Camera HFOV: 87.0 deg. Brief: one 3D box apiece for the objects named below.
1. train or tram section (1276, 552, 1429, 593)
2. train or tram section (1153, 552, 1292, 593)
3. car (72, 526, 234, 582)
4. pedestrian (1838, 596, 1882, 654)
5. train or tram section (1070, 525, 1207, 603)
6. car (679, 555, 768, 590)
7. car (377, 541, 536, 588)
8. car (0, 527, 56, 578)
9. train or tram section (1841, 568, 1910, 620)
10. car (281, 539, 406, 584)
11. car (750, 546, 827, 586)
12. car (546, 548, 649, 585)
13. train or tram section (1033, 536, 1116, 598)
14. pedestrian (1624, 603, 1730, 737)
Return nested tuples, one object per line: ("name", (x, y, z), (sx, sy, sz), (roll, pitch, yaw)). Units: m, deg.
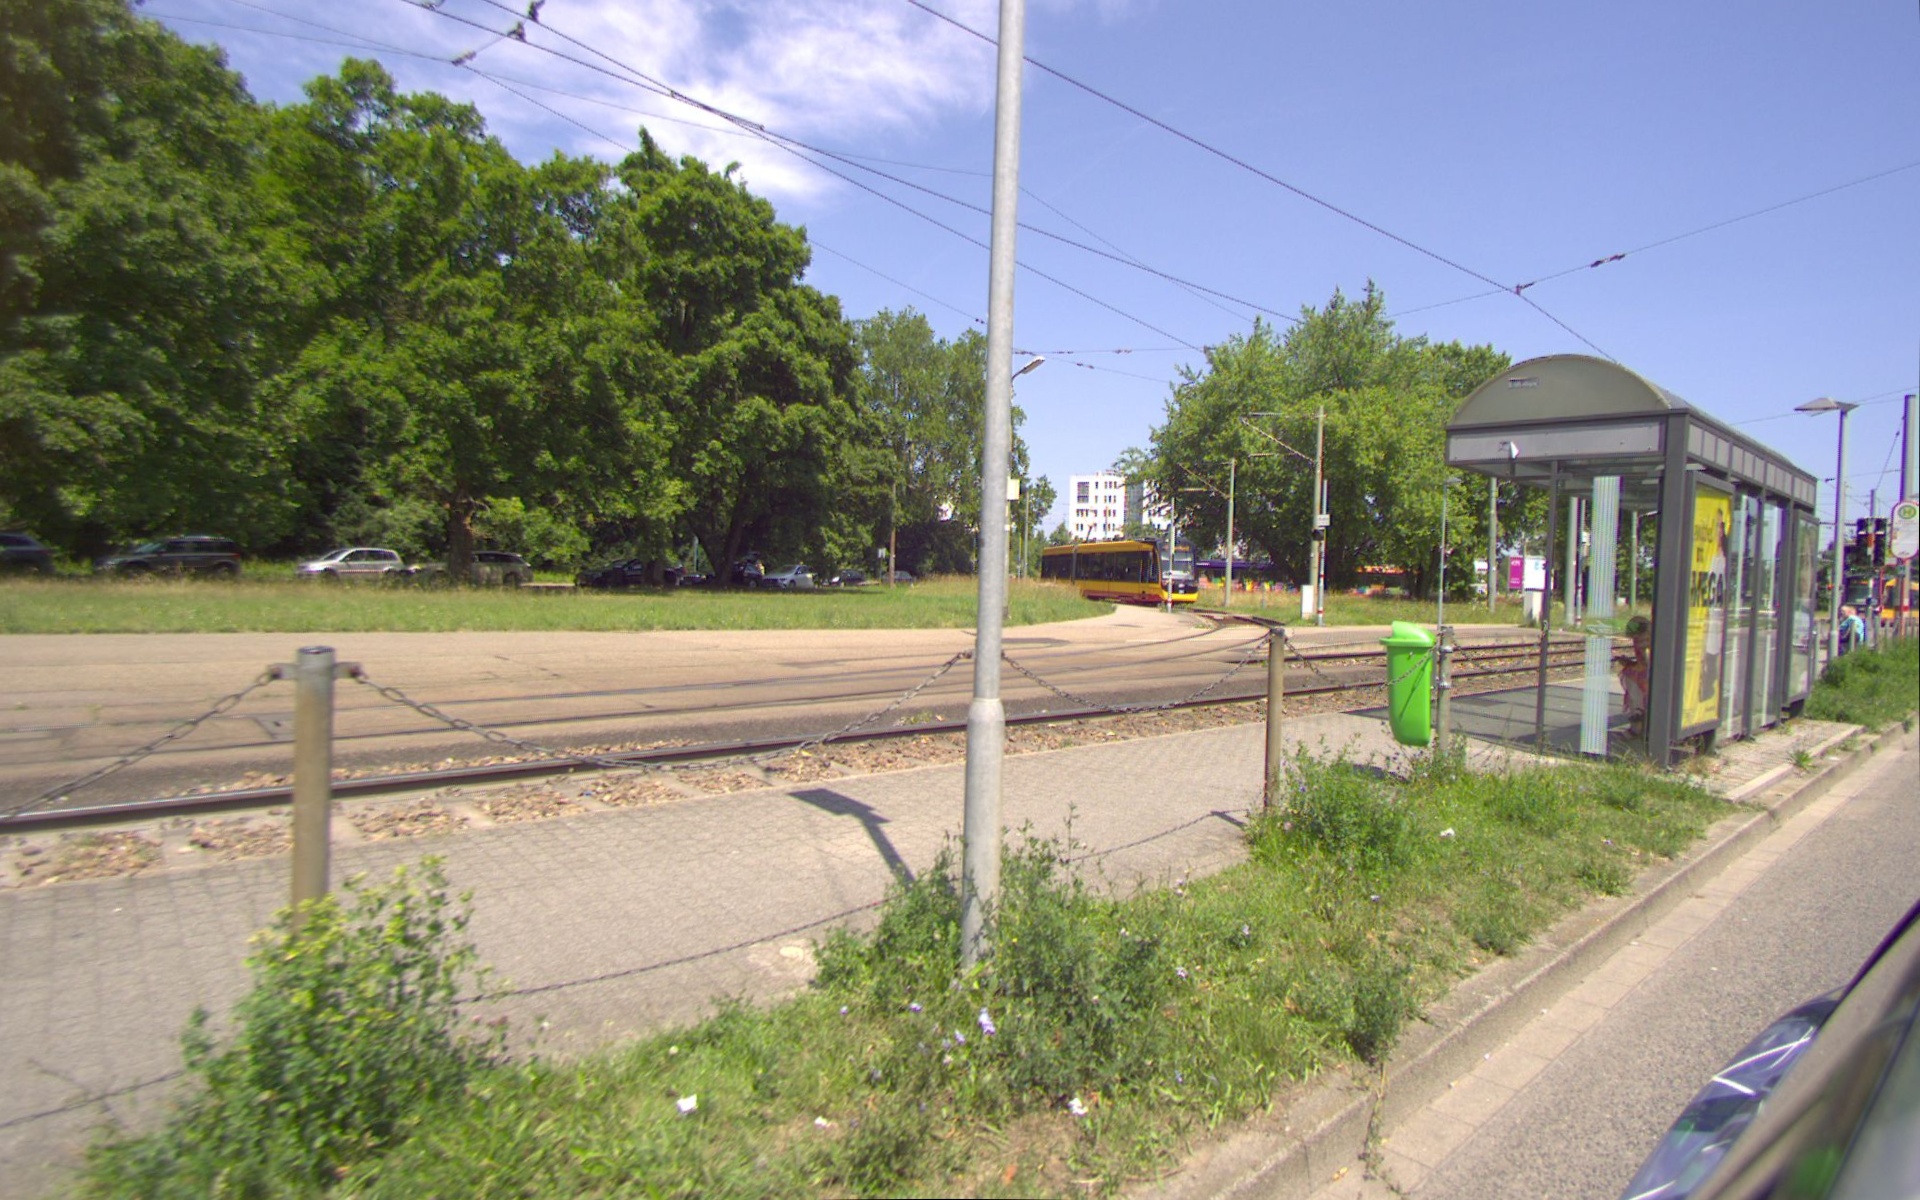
("train or tram section", (36.619, -2.558, 95.021), (13.048, 3.695, 2.706), (0, 1, 13))
("train or tram section", (24.640, -2.548, 94.780), (12.973, 3.695, 2.721), (0, 1, -15))
("car", (-27.923, -1.568, 35.152), (1.982, 1.793, 3.961), (3, 2, 28))
("pedestrian", (18.300, 0.489, 20.584), (0.610, 1.143, 0.610), (-1, 1, -42))
("train or tram section", (9.204, -1.821, 54.549), (2.659, 3.694, 13.211), (0, 1, -11))
("car", (-11.541, -1.338, 49.705), (1.689, 1.558, 4.573), (3, 2, 26))
("car", (-18.834, -1.297, 38.096), (2.108, 1.631, 5.001), (3, 2, 31))
("car", (-30.304, -1.476, 30.684), (1.872, 1.529, 3.959), (3, 2, 29))
("train or tram section", (62.472, -0.450, 69.009), (7.133, 3.363, 2.524), (-1, 3, -41))
("car", (-24.905, -1.537, 41.000), (1.839, 1.682, 3.957), (3, 2, 30))
("car", (-9.224, -1.821, 54.644), (1.940, 2.038, 4.275), (3, 2, 26))
("car", (-15.424, -1.424, 43.262), (1.940, 1.440, 3.909), (3, 2, 26))
("train or tram section", (7.348, -2.112, 67.172), (2.661, 3.694, 13.269), (0, 1, -6))
("pedestrian", (6.050, 0.567, 8.540), (0.569, 1.052, 0.576), (1, 2, -41))
